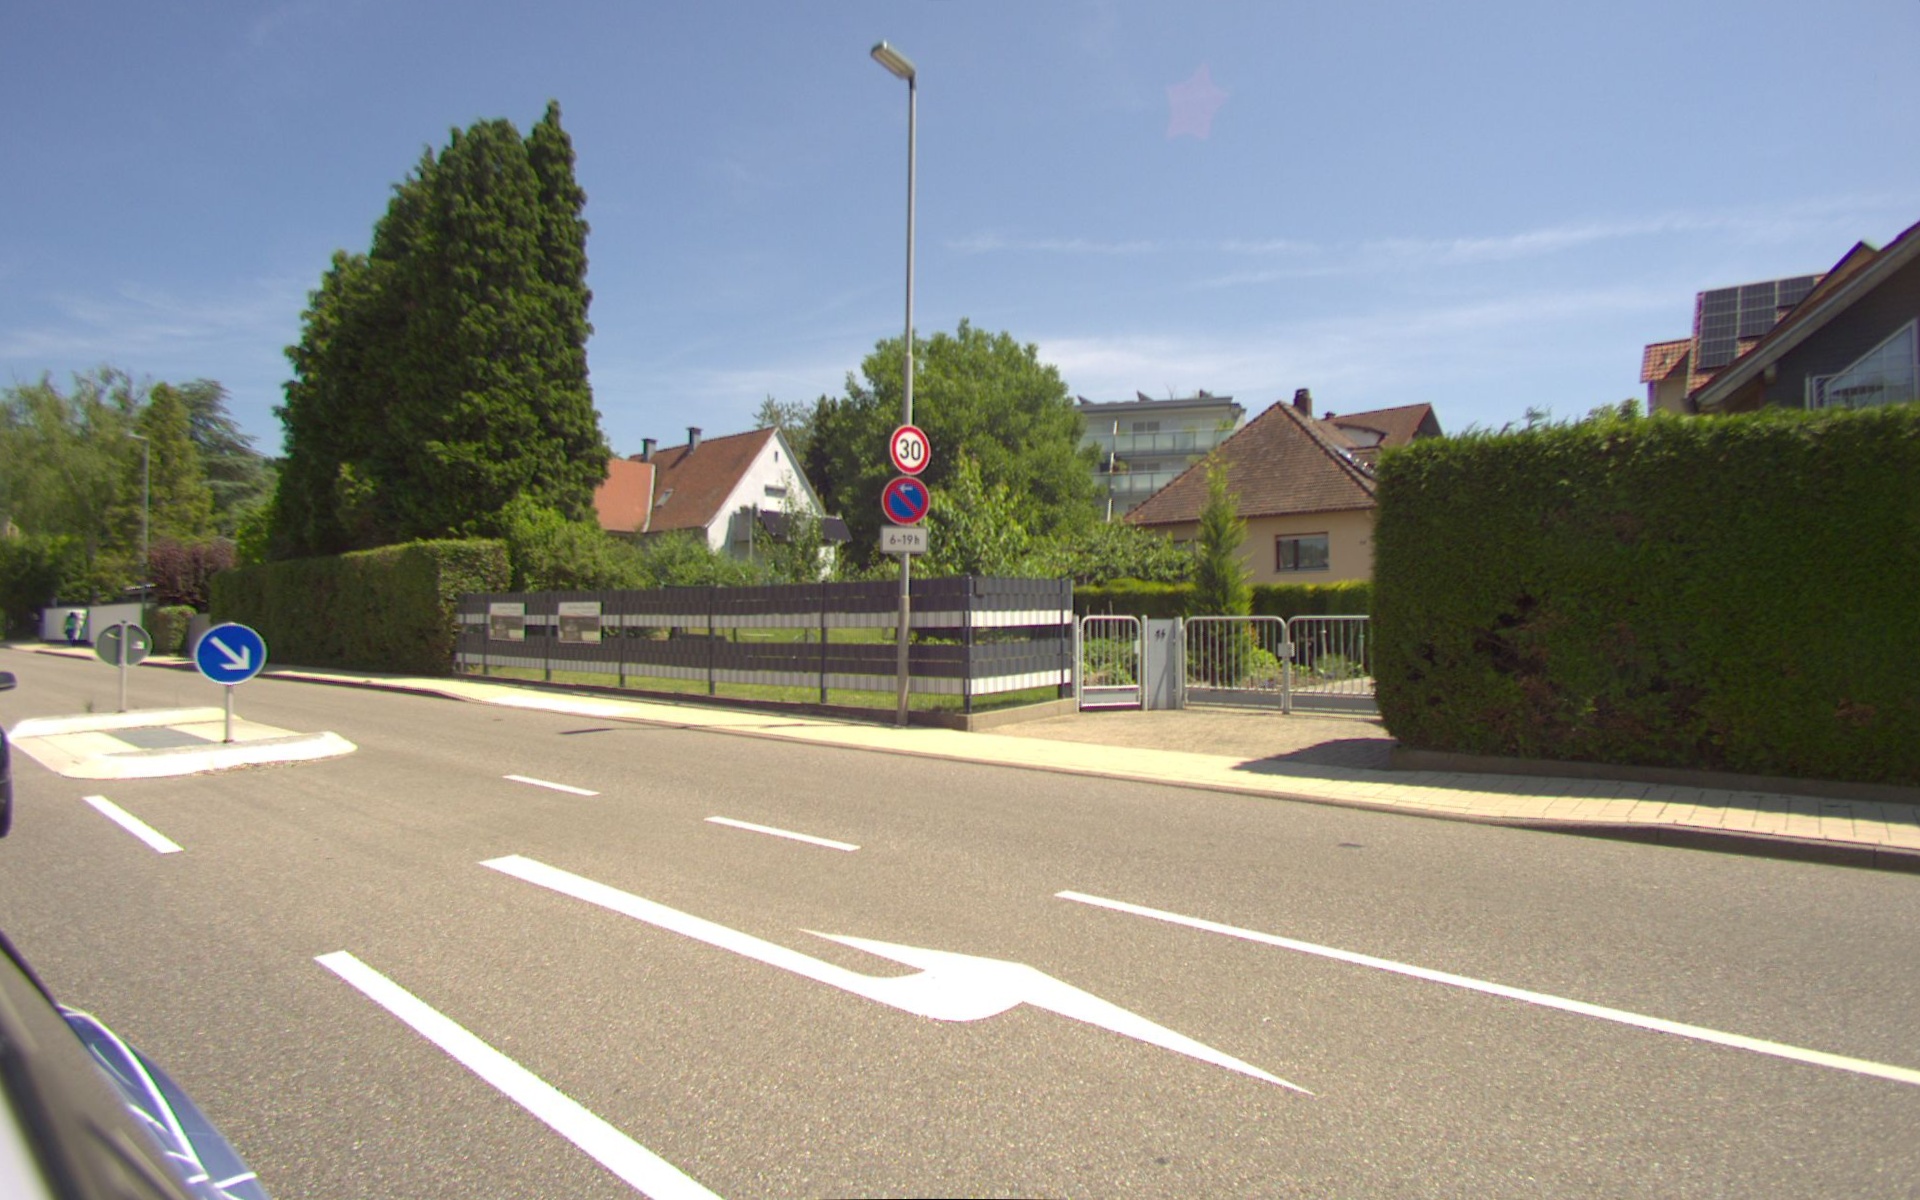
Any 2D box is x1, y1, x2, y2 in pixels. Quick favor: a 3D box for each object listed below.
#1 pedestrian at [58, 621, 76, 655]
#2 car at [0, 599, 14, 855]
[{"bbox_3d":[-40.398,1.706,45.776,0.482,1.497,0.548,-1,0,40],"label":"pedestrian"},{"bbox_3d":[-8.127,0.826,7.042,4.154,1.601,1.844,-1,-2,41],"label":"car"}]
